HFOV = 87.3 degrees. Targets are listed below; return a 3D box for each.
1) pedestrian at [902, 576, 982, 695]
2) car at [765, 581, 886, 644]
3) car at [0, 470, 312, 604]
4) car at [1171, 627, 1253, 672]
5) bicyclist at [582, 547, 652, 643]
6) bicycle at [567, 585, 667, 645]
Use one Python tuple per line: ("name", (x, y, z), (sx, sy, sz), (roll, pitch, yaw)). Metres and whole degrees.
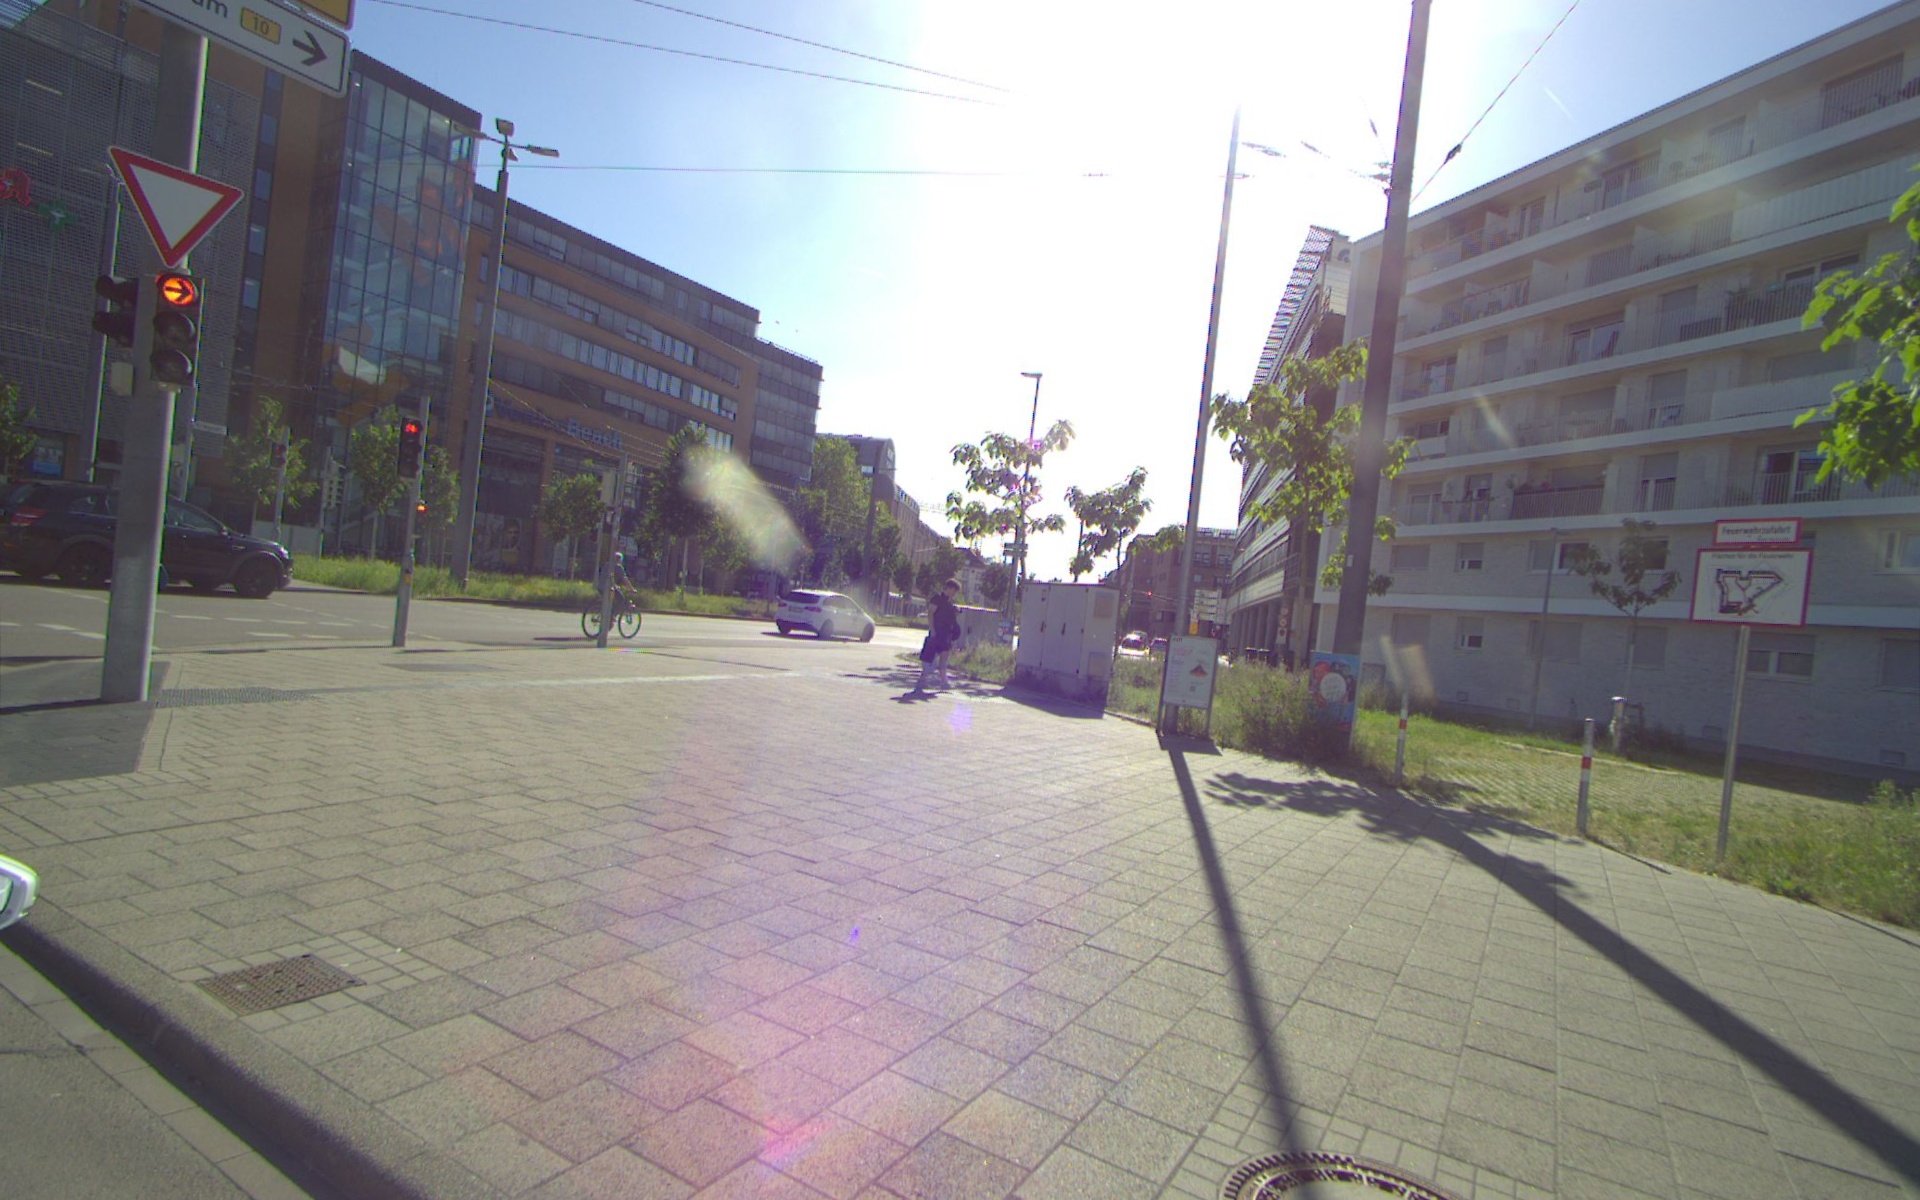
("pedestrian", (-0.276, 0.563, 15.650), (0.749, 1.729, 0.807), (7, 0, 31))
("car", (-4.421, 0.484, 33.864), (1.806, 1.654, 4.502), (8, 0, 24))
("car", (-14.514, -1.047, 17.907), (1.806, 1.739, 4.649), (8, -1, 23))
("car", (14.306, 2.811, 57.296), (3.929, 2.038, 1.999), (7, 0, -5))
("bicyclist", (-7.270, -0.096, 21.320), (0.840, 1.882, 0.903), (7, 0, 32))
("bicycle", (-7.271, 0.336, 21.396), (0.839, 1.130, 1.830), (7, 1, 32))
